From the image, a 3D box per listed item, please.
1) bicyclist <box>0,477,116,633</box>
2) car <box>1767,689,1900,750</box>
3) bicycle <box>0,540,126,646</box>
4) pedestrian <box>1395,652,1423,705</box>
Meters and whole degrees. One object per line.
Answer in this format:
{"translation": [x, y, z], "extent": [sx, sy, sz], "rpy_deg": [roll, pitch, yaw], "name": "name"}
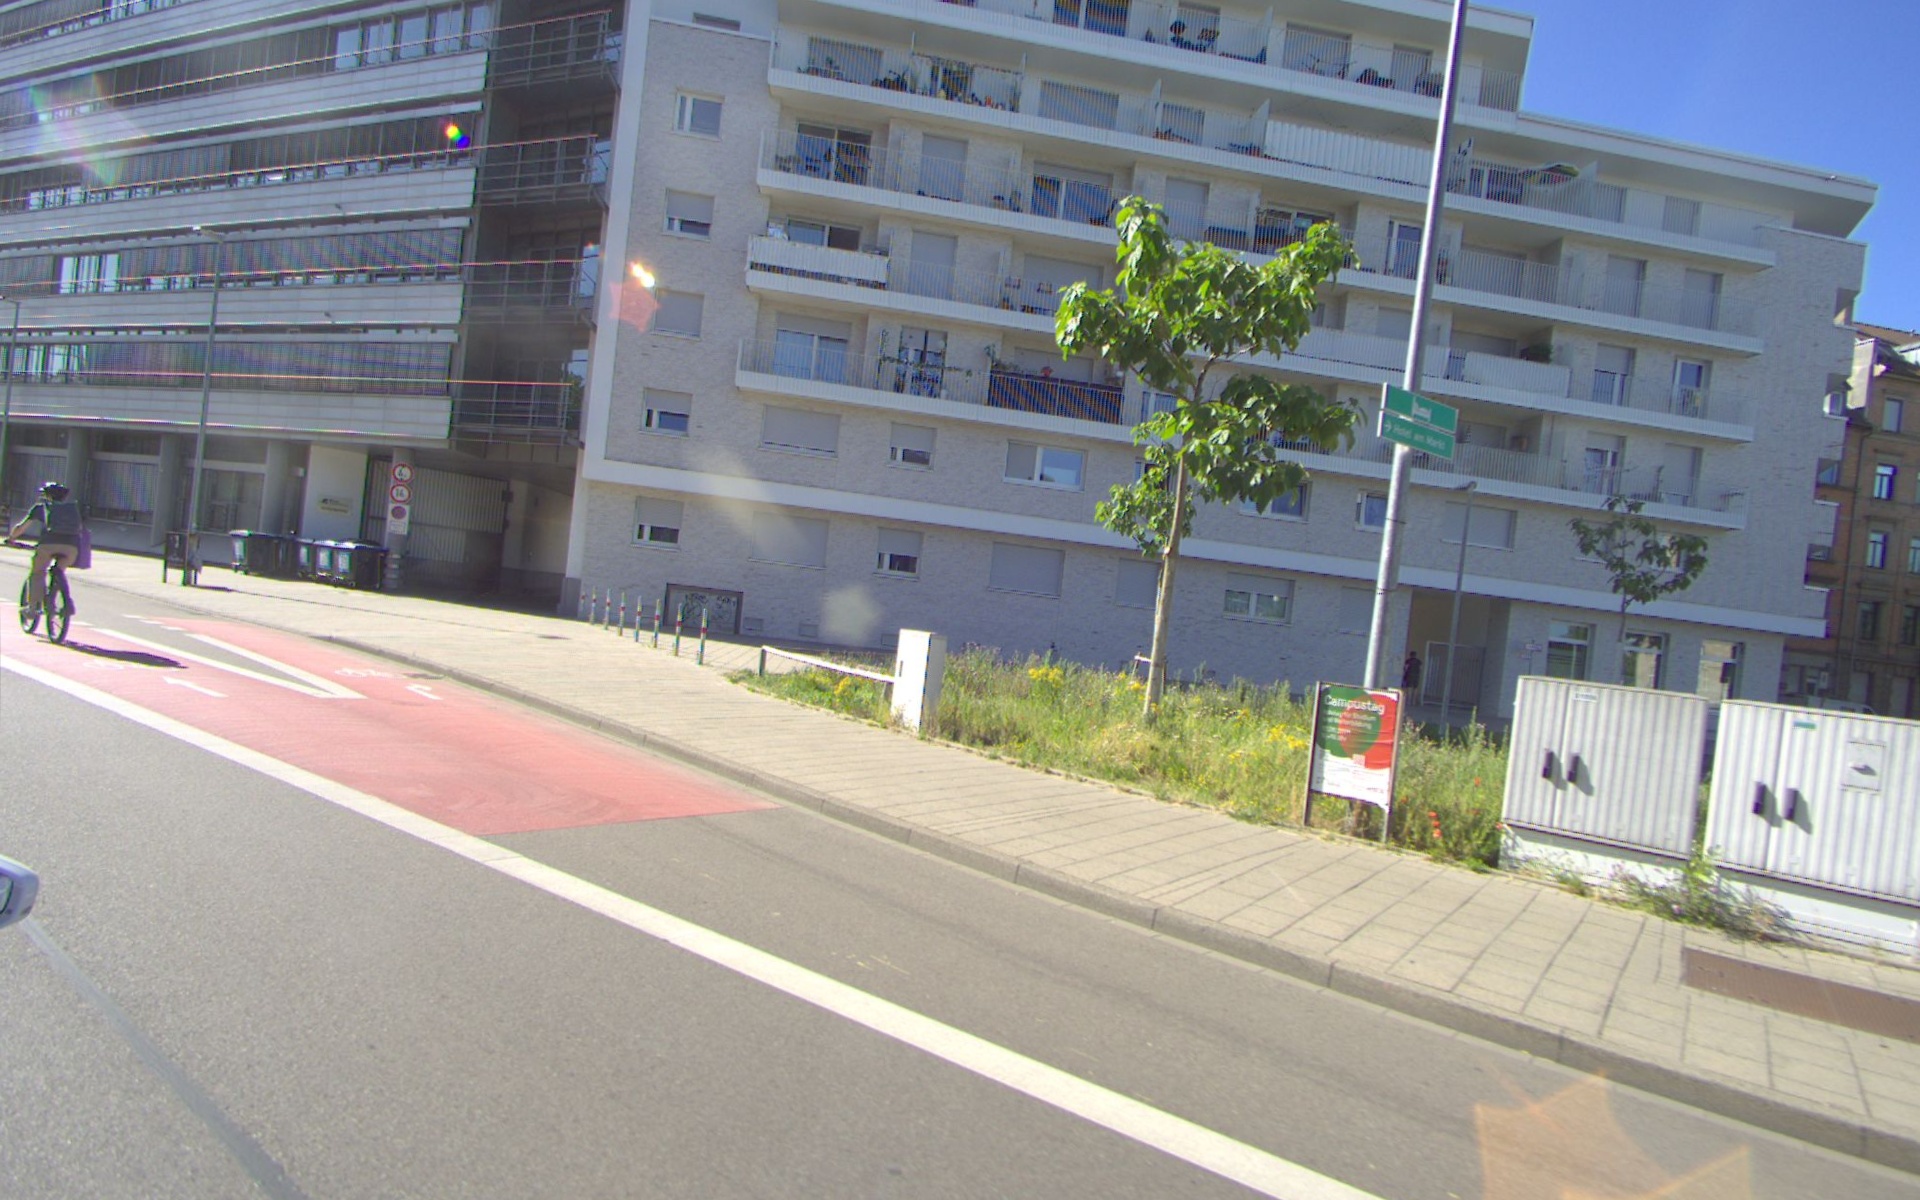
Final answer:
{"translation": [-10.925, -0.537, 12.096], "extent": [1.035, 1.713, 0.807], "rpy_deg": [6, -1, 36], "name": "bicyclist"}
{"translation": [40.678, 5.548, 46.920], "extent": [4.561, 2.138, 1.998], "rpy_deg": [7, 0, -7], "name": "car"}
{"translation": [-10.975, -0.100, 12.183], "extent": [1.862, 1.049, 0.826], "rpy_deg": [6, -2, 36], "name": "bicycle"}
{"translation": [14.663, 2.557, 32.877], "extent": [0.513, 1.668, 0.470], "rpy_deg": [6, 1, -3], "name": "pedestrian"}
